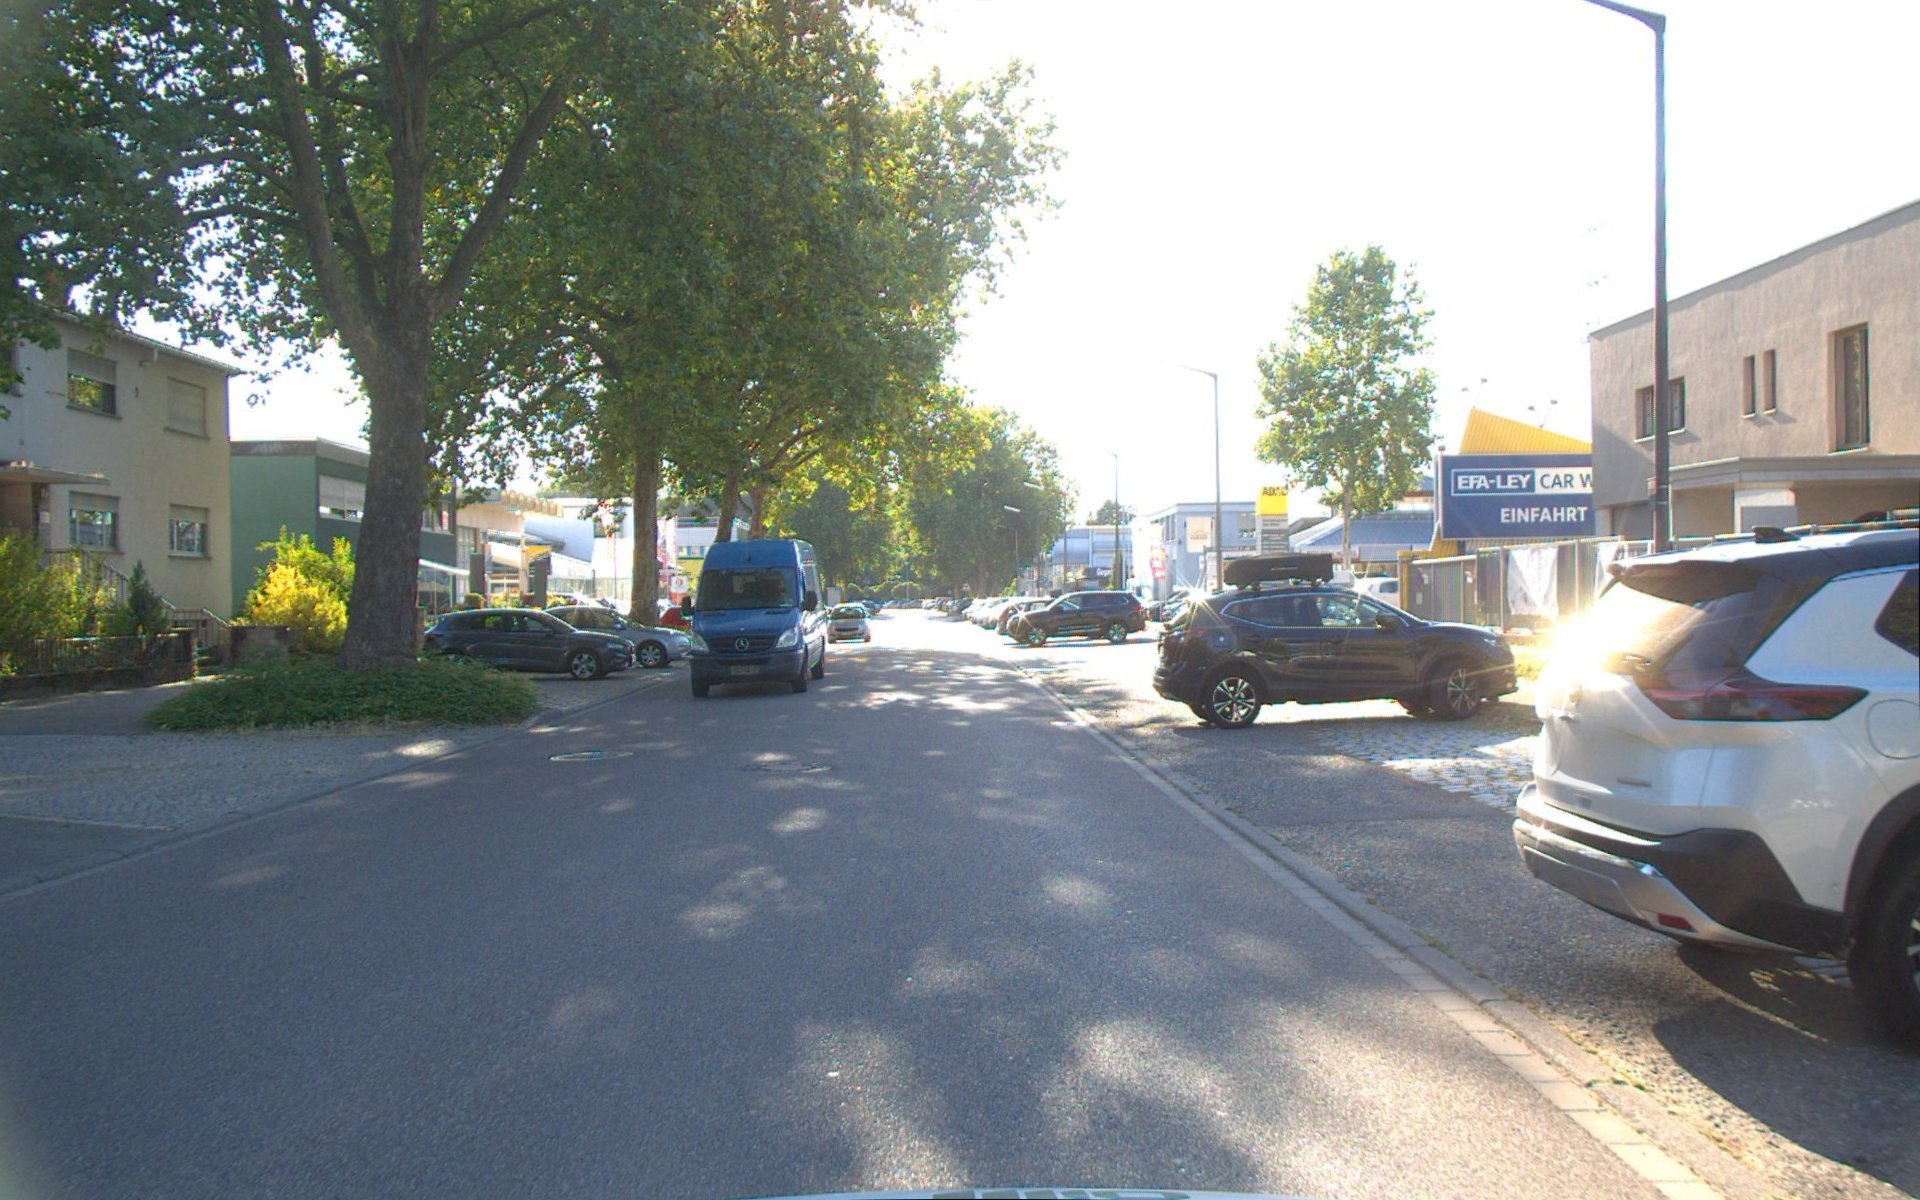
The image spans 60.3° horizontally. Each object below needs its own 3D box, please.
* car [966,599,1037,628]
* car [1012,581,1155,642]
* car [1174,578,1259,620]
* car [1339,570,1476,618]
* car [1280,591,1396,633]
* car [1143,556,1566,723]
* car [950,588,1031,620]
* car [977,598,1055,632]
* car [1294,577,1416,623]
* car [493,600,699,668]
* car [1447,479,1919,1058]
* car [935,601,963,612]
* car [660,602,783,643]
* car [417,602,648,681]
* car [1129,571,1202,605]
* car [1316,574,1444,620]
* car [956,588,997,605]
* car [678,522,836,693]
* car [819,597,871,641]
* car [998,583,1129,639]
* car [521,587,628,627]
[{"bbox_3d":[2.768,0.899,110.508,4.466,1.625,2.200,-4,0,-4],"label":"car"},{"bbox_3d":[4.039,0.365,54.763,4.507,1.607,2.000,-5,0,1],"label":"car"},{"bbox_3d":[12.888,-0.067,83.298,3.854,1.931,2.202,-1,3,-2],"label":"car"},{"bbox_3d":[14.641,-0.201,54.285,3.910,1.523,1.998,0,0,-6],"label":"car"},{"bbox_3d":[14.374,0.437,63.047,3.910,1.545,1.998,0,0,-6],"label":"car"},{"bbox_3d":[4.684,0.447,20.103,4.533,1.553,1.999,-5,0,-3],"label":"car"},{"bbox_3d":[1.500,0.180,81.029,3.905,1.318,1.784,-3,0,1],"label":"car"},{"bbox_3d":[3.001,0.802,89.050,3.910,1.615,1.865,-3,0,-5],"label":"car"},{"bbox_3d":[14.359,-0.006,60.214,3.910,1.623,1.998,0,0,-6],"label":"car"},{"bbox_3d":[-8.693,0.790,39.830,4.507,1.447,2.000,-1,1,-2],"label":"car"},{"bbox_3d":[4.473,0.368,6.278,4.533,1.741,1.999,-5,0,-3],"label":"car"},{"bbox_3d":[-1.534,0.970,234.180,3.906,1.440,1.826,-2,0,-2],"label":"car"},{"bbox_3d":[-8.626,0.818,60.095,4.209,1.472,1.999,0,0,-2],"label":"car"},{"bbox_3d":[-8.751,0.840,34.189,4.267,1.447,1.999,-1,1,-4],"label":"car"},{"bbox_3d":[12.410,-0.712,100.064,4.060,1.802,2.000,-3,0,-1],"label":"car"},{"bbox_3d":[14.598,-0.104,57.659,3.910,1.545,1.951,0,0,-6],"label":"car"},{"bbox_3d":[1.568,-0.327,158.610,3.906,1.440,1.999,-2,0,-2],"label":"car"},{"bbox_3d":[-3.559,0.059,30.322,2.084,2.705,7.000,-2,1,-1],"label":"car"},{"bbox_3d":[-4.569,0.732,66.034,1.801,1.598,3.801,-3,0,-2],"label":"car"},{"bbox_3d":[3.738,0.404,60.379,4.509,1.641,1.999,-5,0,-2],"label":"car"},{"bbox_3d":[-18.197,0.327,78.187,4.651,1.851,1.999,0,0,-3],"label":"car"}]
